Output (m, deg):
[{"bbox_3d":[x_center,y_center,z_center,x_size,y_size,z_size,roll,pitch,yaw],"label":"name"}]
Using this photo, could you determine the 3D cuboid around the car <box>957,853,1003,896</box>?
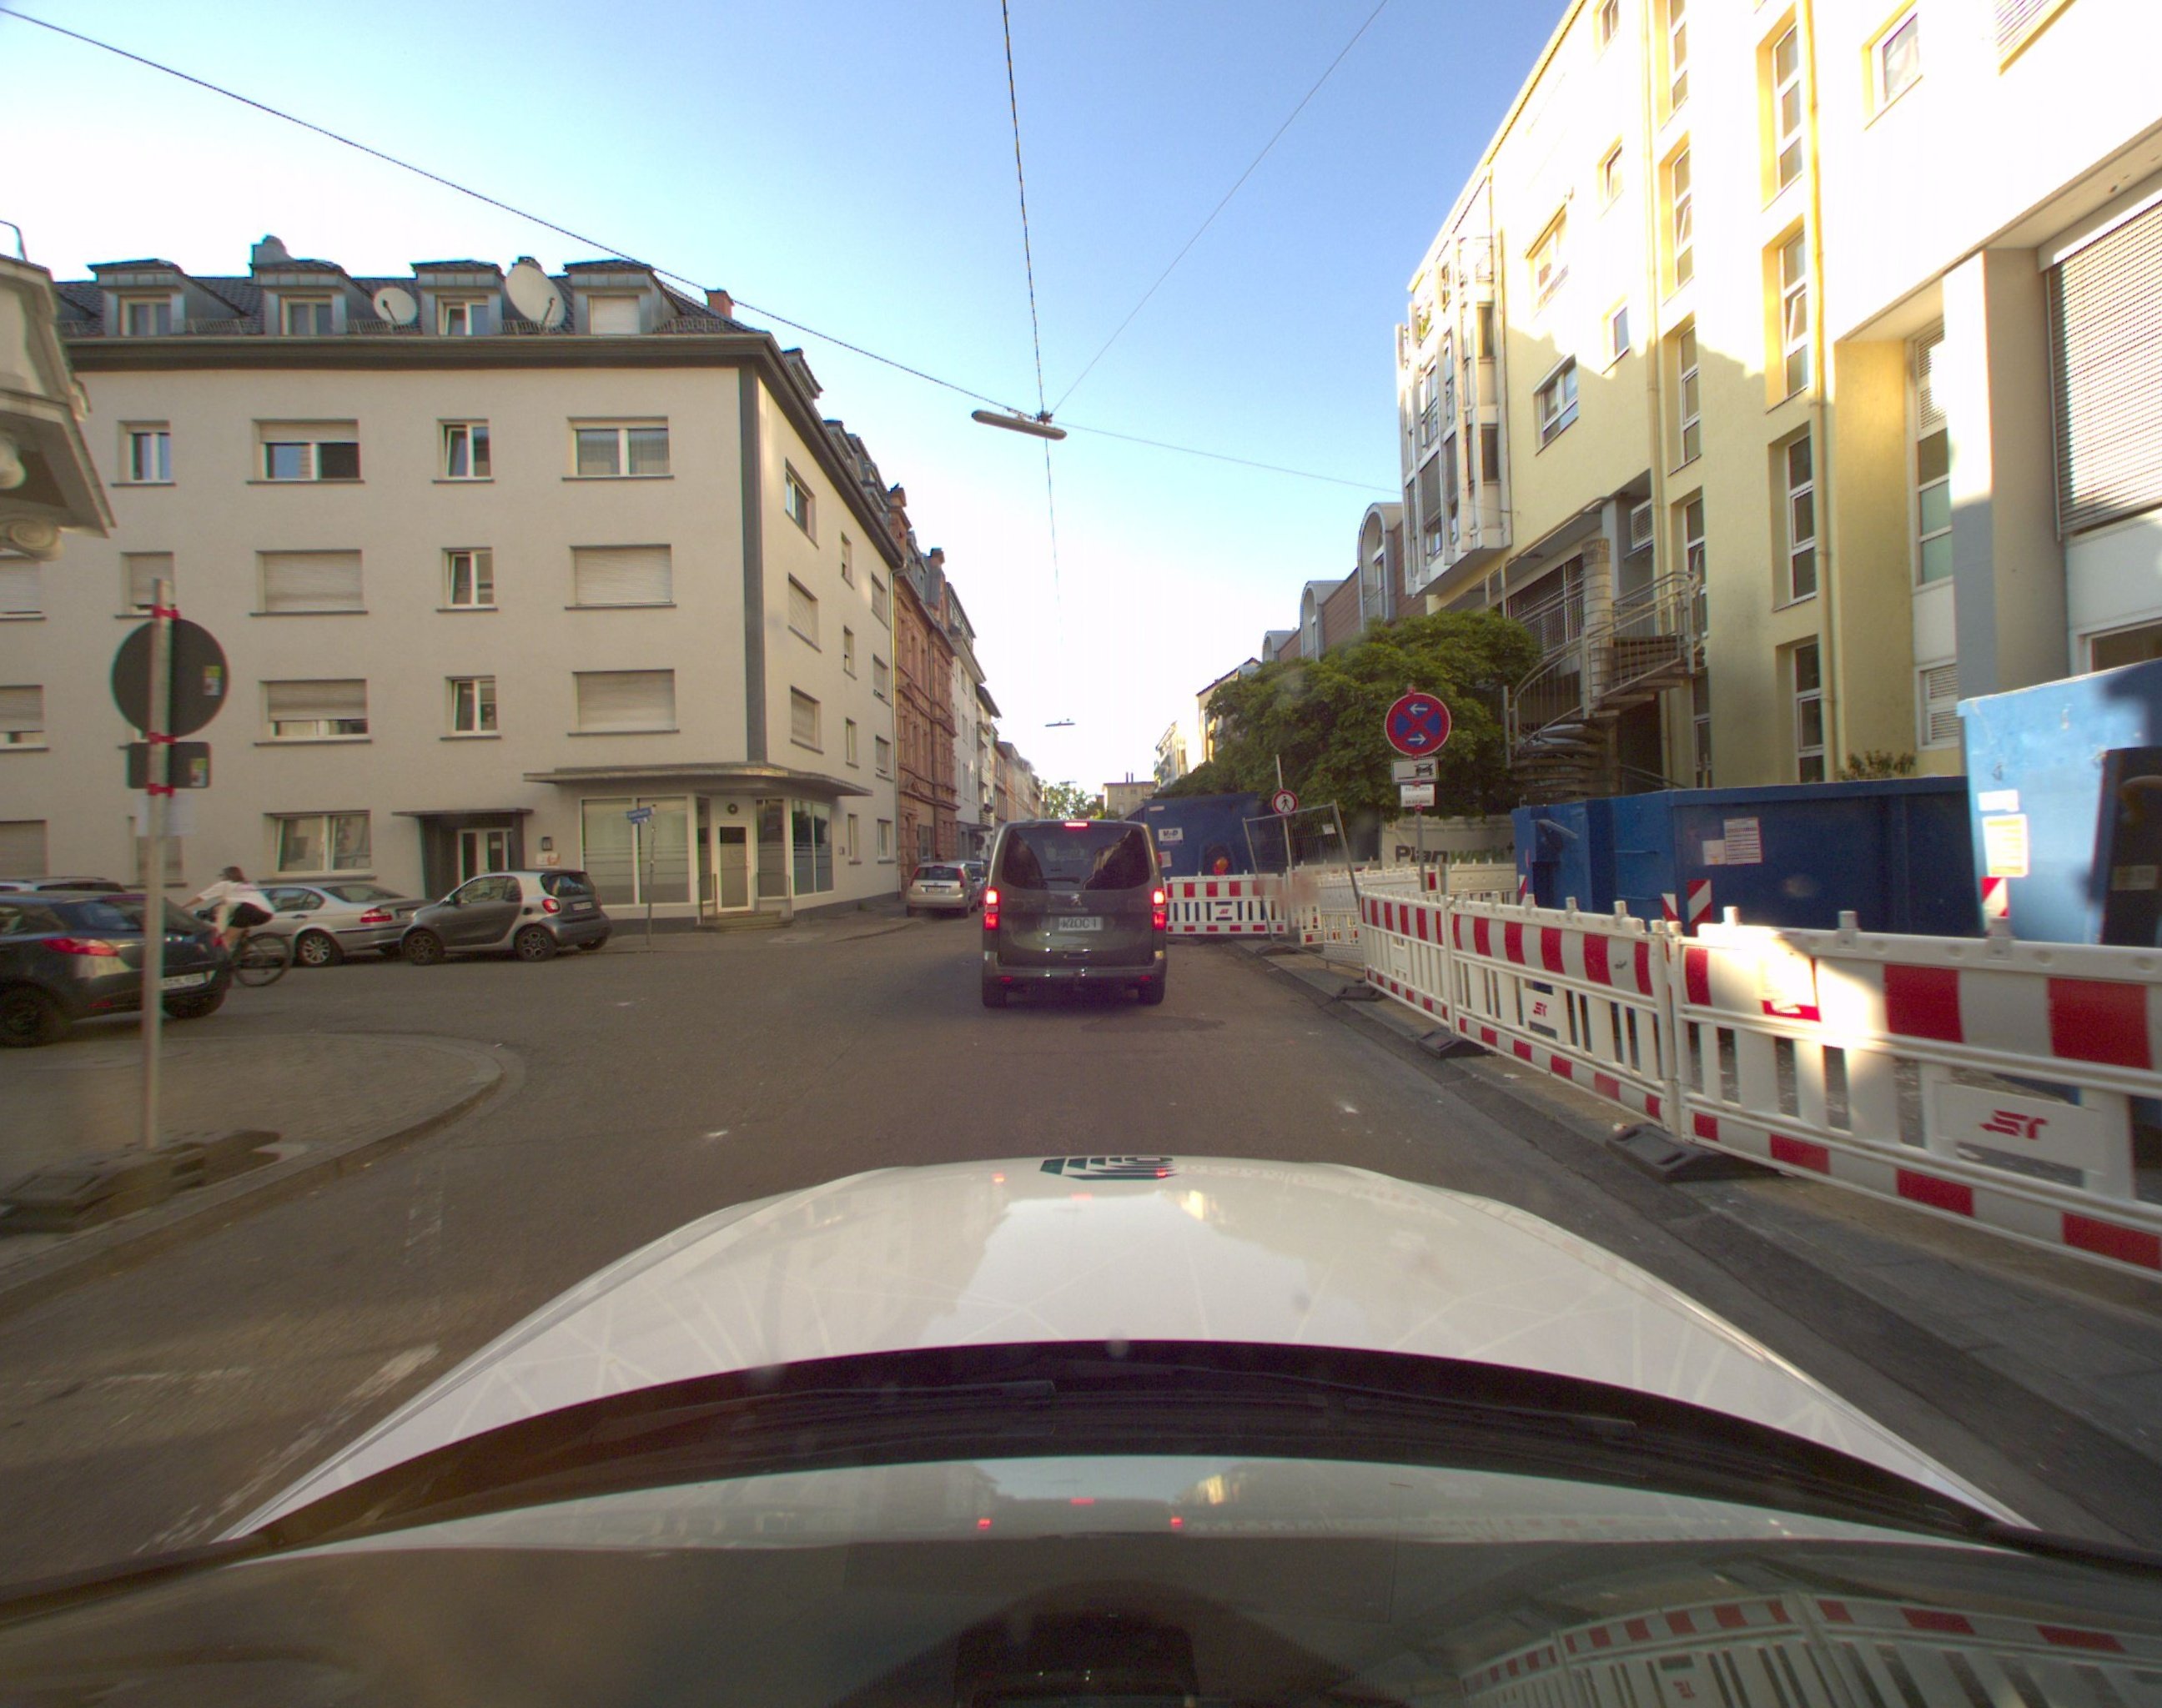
[{"bbox_3d":[-4.304,0.861,35.050,1.663,1.666,3.087,3,-1,-4],"label":"car"}]

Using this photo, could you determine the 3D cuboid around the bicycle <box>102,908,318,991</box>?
[{"bbox_3d":[-11.974,1.293,11.249,2.103,1.028,0.734,0,0,-3],"label":"bicycle"}]

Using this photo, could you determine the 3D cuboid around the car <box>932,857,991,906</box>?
[{"bbox_3d":[-4.036,0.907,27.948,1.652,1.525,3.413,3,-1,-4],"label":"car"}]

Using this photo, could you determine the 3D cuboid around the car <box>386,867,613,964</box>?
[{"bbox_3d":[-10.030,1.020,14.193,2.777,1.540,1.593,-1,0,0],"label":"car"}]

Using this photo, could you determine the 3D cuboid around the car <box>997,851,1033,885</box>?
[{"bbox_3d":[-3.844,0.811,48.058,1.888,1.847,4.343,3,-1,-3],"label":"car"}]

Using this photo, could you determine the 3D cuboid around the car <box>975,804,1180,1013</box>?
[{"bbox_3d":[-0.147,0.517,9.618,1.861,1.886,4.229,-1,-1,-4],"label":"car"}]

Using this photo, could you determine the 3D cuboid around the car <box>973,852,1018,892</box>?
[{"bbox_3d":[-4.001,0.856,38.689,1.888,1.720,3.749,3,-1,-4],"label":"car"}]

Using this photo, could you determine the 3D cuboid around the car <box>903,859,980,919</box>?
[{"bbox_3d":[-3.797,0.919,22.624,1.652,1.460,3.413,3,-1,-4],"label":"car"}]

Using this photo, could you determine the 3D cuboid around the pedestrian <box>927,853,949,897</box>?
[{"bbox_3d":[-5.545,0.819,31.650,0.738,1.664,0.702,-2,0,-5],"label":"pedestrian"}]

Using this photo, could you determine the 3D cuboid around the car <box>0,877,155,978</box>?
[{"bbox_3d":[-18.984,1.239,14.068,4.007,1.604,1.602,-1,0,-2],"label":"car"}]

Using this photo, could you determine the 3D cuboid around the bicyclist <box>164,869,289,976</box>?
[{"bbox_3d":[-11.821,0.930,11.299,0.935,1.412,0.734,0,0,-3],"label":"bicyclist"}]

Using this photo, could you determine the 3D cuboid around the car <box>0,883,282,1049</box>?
[{"bbox_3d":[-10.951,1.114,8.325,3.658,1.451,1.726,-2,0,-5],"label":"car"}]

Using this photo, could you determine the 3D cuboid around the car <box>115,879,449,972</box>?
[{"bbox_3d":[-13.947,1.219,14.397,4.192,1.403,1.602,-1,0,-2],"label":"car"}]
